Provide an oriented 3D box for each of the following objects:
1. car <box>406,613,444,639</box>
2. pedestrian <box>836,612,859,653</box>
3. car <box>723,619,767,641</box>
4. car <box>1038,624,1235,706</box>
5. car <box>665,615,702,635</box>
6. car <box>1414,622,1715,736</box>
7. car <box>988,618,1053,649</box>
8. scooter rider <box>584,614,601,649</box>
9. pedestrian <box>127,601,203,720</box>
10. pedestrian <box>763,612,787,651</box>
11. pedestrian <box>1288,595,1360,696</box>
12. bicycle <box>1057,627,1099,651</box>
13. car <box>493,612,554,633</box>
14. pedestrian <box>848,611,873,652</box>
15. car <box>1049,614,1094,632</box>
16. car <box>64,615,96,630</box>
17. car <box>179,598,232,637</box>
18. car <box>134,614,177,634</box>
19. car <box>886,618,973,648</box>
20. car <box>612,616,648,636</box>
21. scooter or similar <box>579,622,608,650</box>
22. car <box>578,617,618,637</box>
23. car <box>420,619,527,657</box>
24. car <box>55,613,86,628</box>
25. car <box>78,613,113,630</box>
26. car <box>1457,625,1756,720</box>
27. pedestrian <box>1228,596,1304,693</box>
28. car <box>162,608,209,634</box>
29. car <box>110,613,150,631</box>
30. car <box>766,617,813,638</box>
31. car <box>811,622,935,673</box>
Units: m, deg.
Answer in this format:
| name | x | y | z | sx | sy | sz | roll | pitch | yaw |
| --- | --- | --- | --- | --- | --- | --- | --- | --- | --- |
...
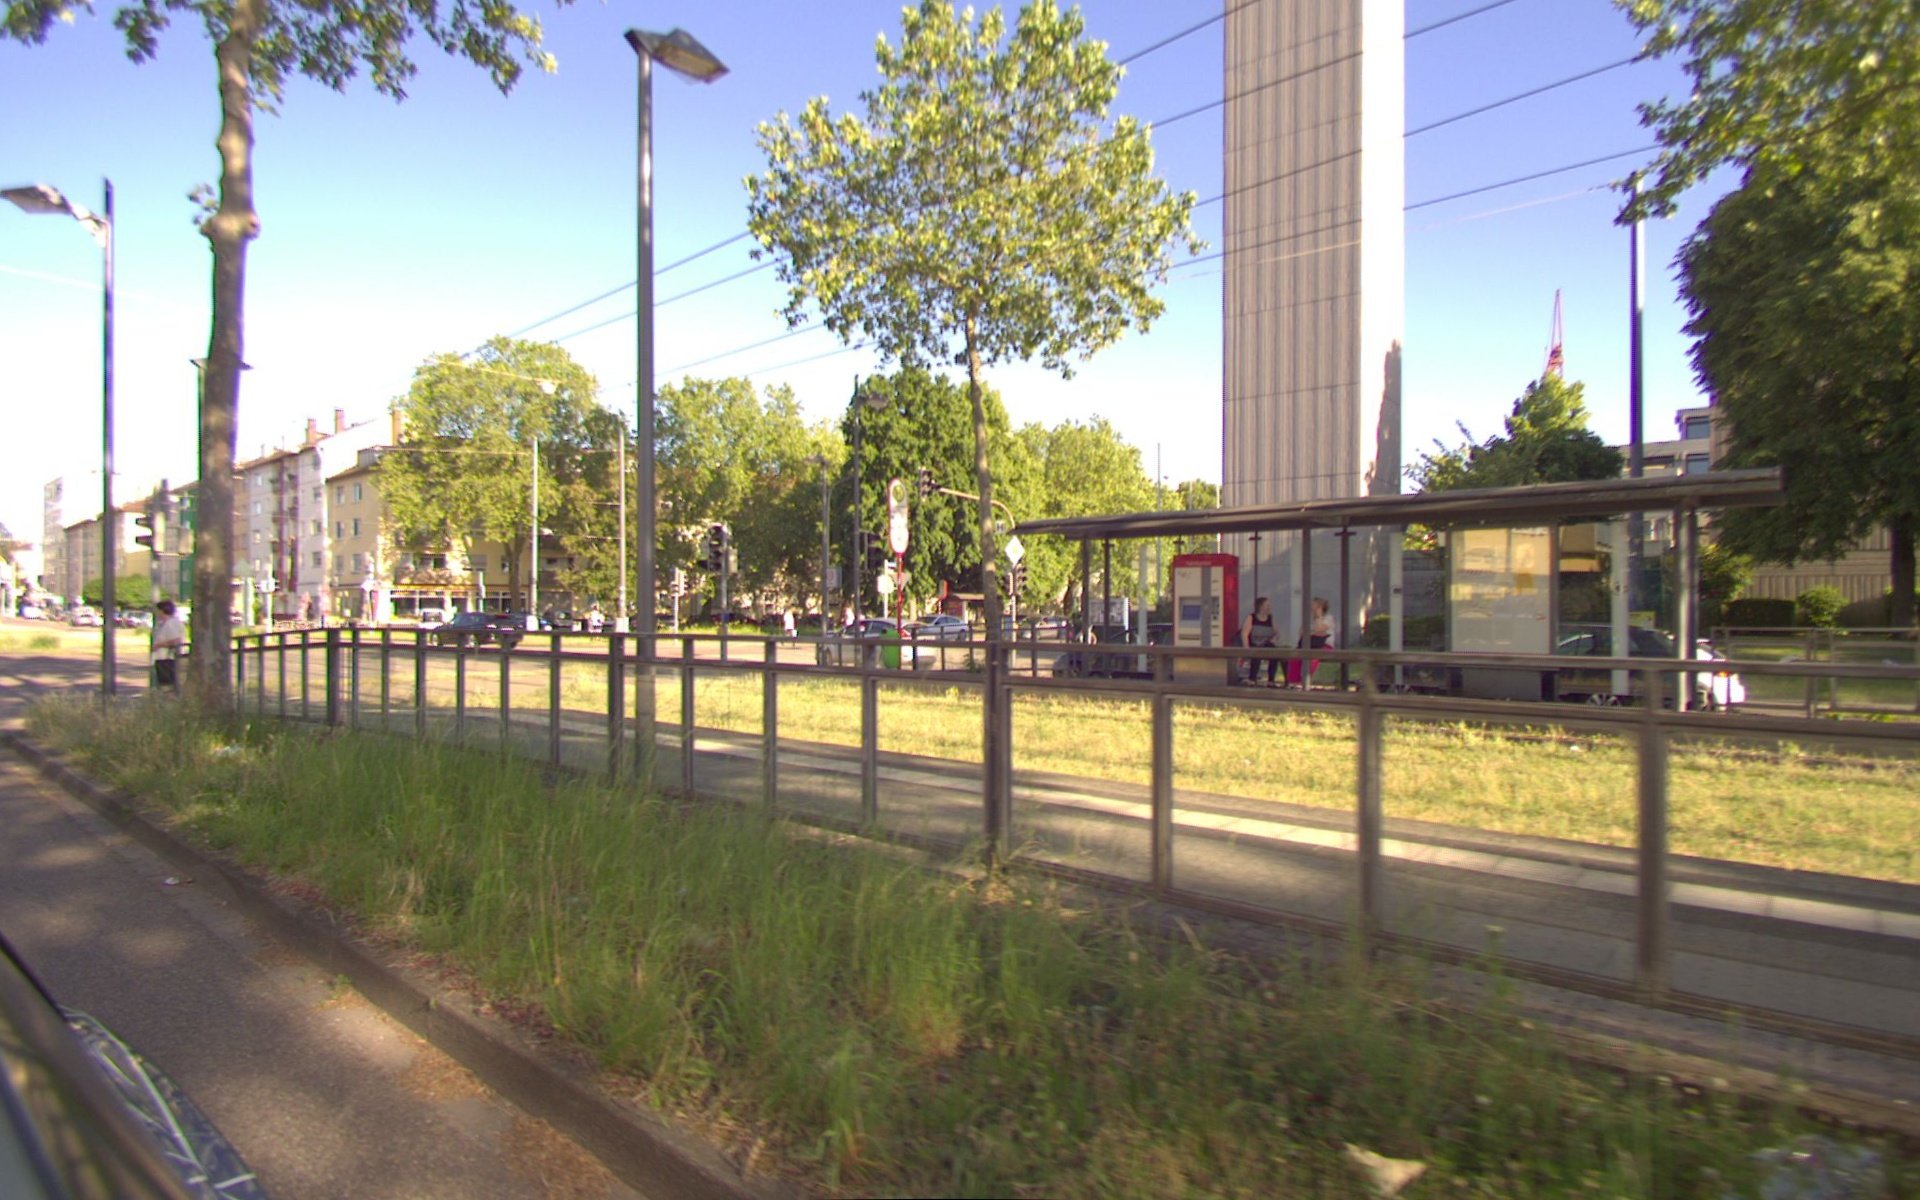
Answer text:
| name | x | y | z | sx | sy | sz | roll | pitch | yaw |
| --- | --- | --- | --- | --- | --- | --- | --- | --- | --- |
| car | -40.062 | 1.928 | 75.715 | 1.882 | 1.896 | 4.008 | 1 | -1 | -37 |
| pedestrian | -4.660 | 1.354 | 42.025 | 0.746 | 1.694 | 0.589 | -1 | -2 | 36 |
| car | -17.422 | 2.387 | 81.802 | 1.967 | 1.718 | 3.943 | 1 | -1 | -37 |
| car | 2.861 | 1.016 | 16.683 | 2.965 | 1.213 | 1.310 | -1 | -1 | 42 |
| car | -23.364 | 2.118 | 85.524 | 1.649 | 1.619 | 3.943 | 1 | -1 | -37 |
| car | 8.623 | 1.037 | 14.565 | 3.533 | 1.438 | 1.589 | -1 | -2 | 39 |
| car | 3.551 | 1.926 | 59.027 | 1.786 | 1.728 | 3.945 | -1 | -2 | 41 |
| scooter rider | -18.016 | 1.542 | 49.626 | 0.572 | 1.708 | 0.589 | -1 | -2 | 35 |
| pedestrian | -10.626 | 0.794 | 13.535 | 0.537 | 1.540 | 0.653 | -1 | -1 | 34 |
| pedestrian | -8.238 | 1.407 | 45.053 | 0.878 | 1.708 | 0.589 | -1 | -2 | 36 |
| pedestrian | 5.055 | 0.621 | 14.045 | 0.734 | 1.352 | 0.686 | -1 | -1 | 43 |
| bicycle | 4.697 | 1.530 | 40.335 | 1.697 | 0.935 | 0.441 | -1 | -1 | 38 |
| car | -31.247 | 1.614 | 72.426 | 3.930 | 1.448 | 1.723 | 1 | -1 | -26 |
| pedestrian | -4.247 | 1.349 | 43.196 | 0.878 | 1.736 | 0.589 | -1 | -2 | 36 |
| car | 10.273 | 2.093 | 93.217 | 1.967 | 1.564 | 3.943 | 1 | -1 | -37 |
| car | -100.293 | 2.536 | 115.297 | 5.400 | 1.720 | 2.117 | -1 | -1 | 42 |
| car | -57.422 | 1.331 | 77.011 | 5.227 | 2.846 | 2.202 | -1 | -1 | 42 |
| car | -71.391 | 2.125 | 89.755 | 5.156 | 1.720 | 2.117 | -1 | -1 | 42 |
| car | -1.529 | 1.667 | 52.215 | 1.999 | 1.498 | 4.467 | -1 | -2 | 41 |
| car | -23.580 | 1.844 | 72.247 | 1.616 | 1.318 | 4.012 | 1 | -1 | -31 |
| scooter or similar | -17.973 | 1.751 | 49.597 | 1.538 | 1.319 | 0.591 | -1 | -2 | 36 |
| car | -29.173 | 2.175 | 81.500 | 1.967 | 1.564 | 3.943 | 1 | -1 | -37 |
| car | -19.960 | 1.518 | 41.447 | 4.516 | 1.453 | 1.934 | -1 | -1 | 34 |
| car | -105.535 | 2.455 | 119.994 | 5.400 | 1.720 | 2.117 | -1 | -1 | 42 |
| car | -90.809 | 2.238 | 106.290 | 5.444 | 1.720 | 2.117 | -1 | -1 | 42 |
| car | 10.645 | 1.117 | 16.846 | 3.999 | 1.364 | 1.534 | -1 | -1 | 42 |
| pedestrian | 4.415 | 0.631 | 14.622 | 0.722 | 1.352 | 0.775 | 1 | -1 | -35 |
| car | -62.696 | 1.670 | 81.900 | 5.156 | 2.050 | 2.117 | -1 | -1 | 42 |
| car | -78.915 | 2.062 | 96.191 | 5.444 | 1.720 | 2.117 | -1 | -1 | 42 |
| car | -13.162 | 2.117 | 77.790 | 1.967 | 1.564 | 3.943 | 1 | -1 | -37 |
| car | -2.448 | 1.294 | 28.233 | 3.410 | 1.335 | 1.313 | -1 | -1 | 35 |
